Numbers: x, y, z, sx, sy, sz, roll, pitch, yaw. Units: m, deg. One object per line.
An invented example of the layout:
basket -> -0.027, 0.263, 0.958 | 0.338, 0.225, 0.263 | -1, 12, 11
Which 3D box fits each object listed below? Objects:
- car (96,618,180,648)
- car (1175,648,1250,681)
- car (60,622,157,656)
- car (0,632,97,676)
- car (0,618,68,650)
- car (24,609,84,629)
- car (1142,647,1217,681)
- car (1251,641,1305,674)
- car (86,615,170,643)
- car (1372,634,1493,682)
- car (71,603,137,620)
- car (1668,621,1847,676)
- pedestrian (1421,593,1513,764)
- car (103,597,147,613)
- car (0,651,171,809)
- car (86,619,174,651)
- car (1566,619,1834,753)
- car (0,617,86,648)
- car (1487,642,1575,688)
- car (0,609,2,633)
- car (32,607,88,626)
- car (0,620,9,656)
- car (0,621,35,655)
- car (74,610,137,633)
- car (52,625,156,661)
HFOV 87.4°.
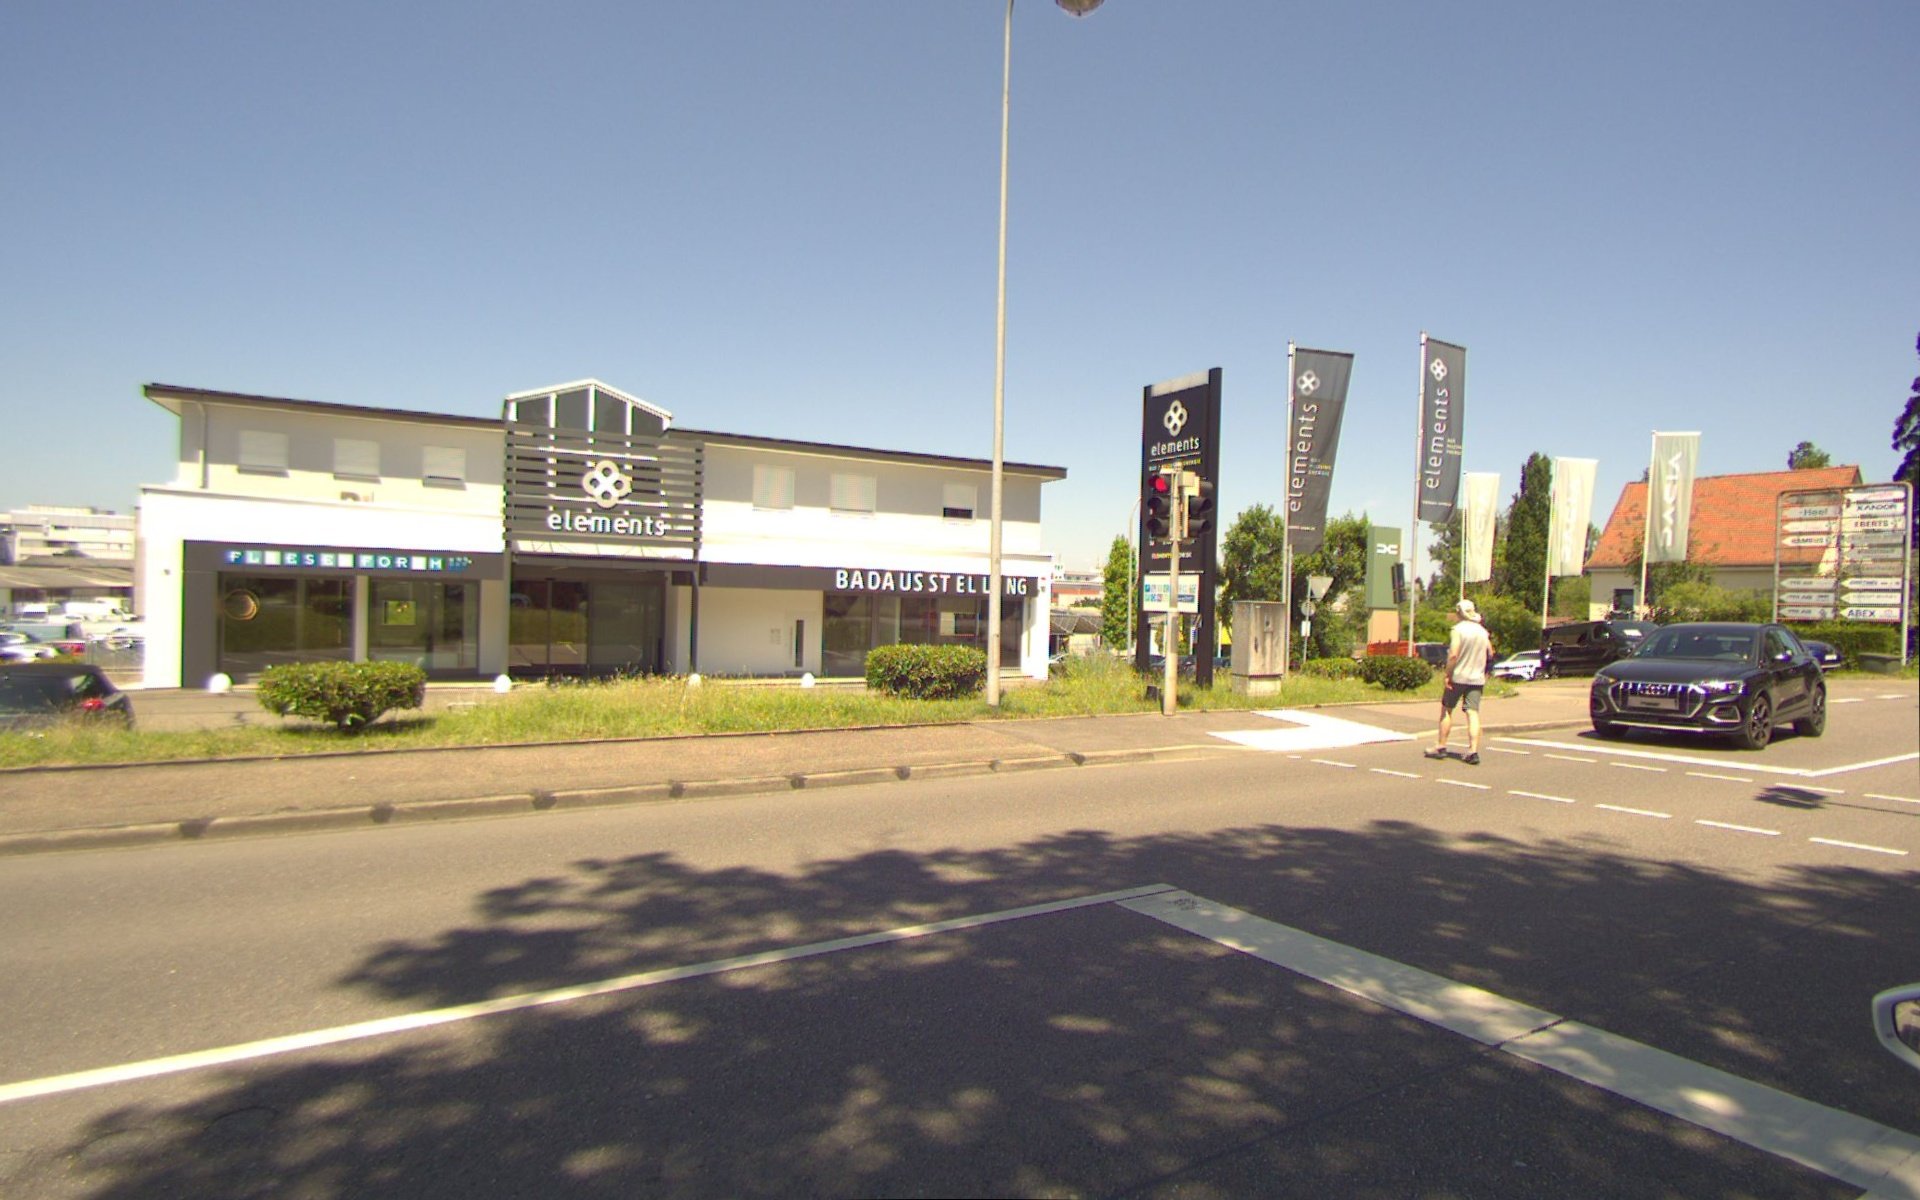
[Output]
car -> -50.697, 2.054, 62.034 | 3.726, 1.778, 1.719 | 2, -1, -28
car -> 12.019, 3.024, 47.706 | 3.840, 1.434, 1.632 | 2, -1, -43
car -> -46.826, 2.137, 55.315 | 3.726, 1.778, 1.719 | 2, -1, -28
car -> -39.771, 2.294, 43.139 | 3.726, 1.778, 1.719 | 2, -1, -28
car -> -53.442, 1.941, 57.098 | 3.726, 1.778, 1.719 | 2, -1, -28
car -> -84.019, 1.742, 93.221 | 3.724, 1.778, 1.720 | 2, 0, -27
car -> 10.980, 3.151, 50.144 | 3.973, 1.506, 1.735 | 2, -1, -44
car -> 18.739, 3.356, 59.124 | 1.785, 1.744, 4.075 | 1, 0, 36
car -> -55.181, 1.935, 66.698 | 4.004, 1.778, 1.719 | 2, -1, -28
car -> 18.166, 2.226, 38.628 | 4.022, 1.744, 1.809 | 2, -1, -16
car -> -95.738, 1.321, 112.449 | 5.236, 1.778, 2.051 | 2, -1, -28
car -> 24.992, 1.484, 31.661 | 1.751, 1.524, 4.129 | 1, -1, -20
pedestrian -> 5.455, 0.829, 10.829 | 0.689, 1.785, 0.545 | 1, 0, -4
car -> -99.596, 0.638, 119.858 | 3.726, 1.778, 1.719 | 2, -1, -28
car -> -11.682, 1.505, 12.660 | 1.746, 1.553, 4.076 | 1, -1, -24
car -> -49.391, 2.082, 59.843 | 3.726, 1.778, 1.719 | 2, -1, -28
car -> 10.459, 1.098, 14.102 | 4.263, 1.576, 1.912 | 2, -1, -37
car -> -54.795, 1.917, 59.844 | 3.726, 1.778, 1.719 | 2, -1, -28
car -> 23.952, 2.683, 42.094 | 4.053, 1.744, 1.795 | 2, 0, -38
car -> -74.447, 1.591, 75.122 | 3.726, 1.778, 1.719 | 2, 1, -28
car -> -87.835, 1.653, 98.050 | 3.726, 1.778, 1.719 | 1, 0, -28
car -> -49.202, 1.861, 48.965 | 3.726, 1.778, 1.719 | 2, -1, -28
car -> -51.425, 1.984, 52.787 | 3.726, 1.778, 1.719 | 2, -1, -28
car -> -71.103, 1.783, 83.634 | 3.726, 1.778, 1.719 | 1, 2, -28
car -> -43.949, 2.208, 51.645 | 3.726, 1.778, 1.719 | 2, -1, -28
